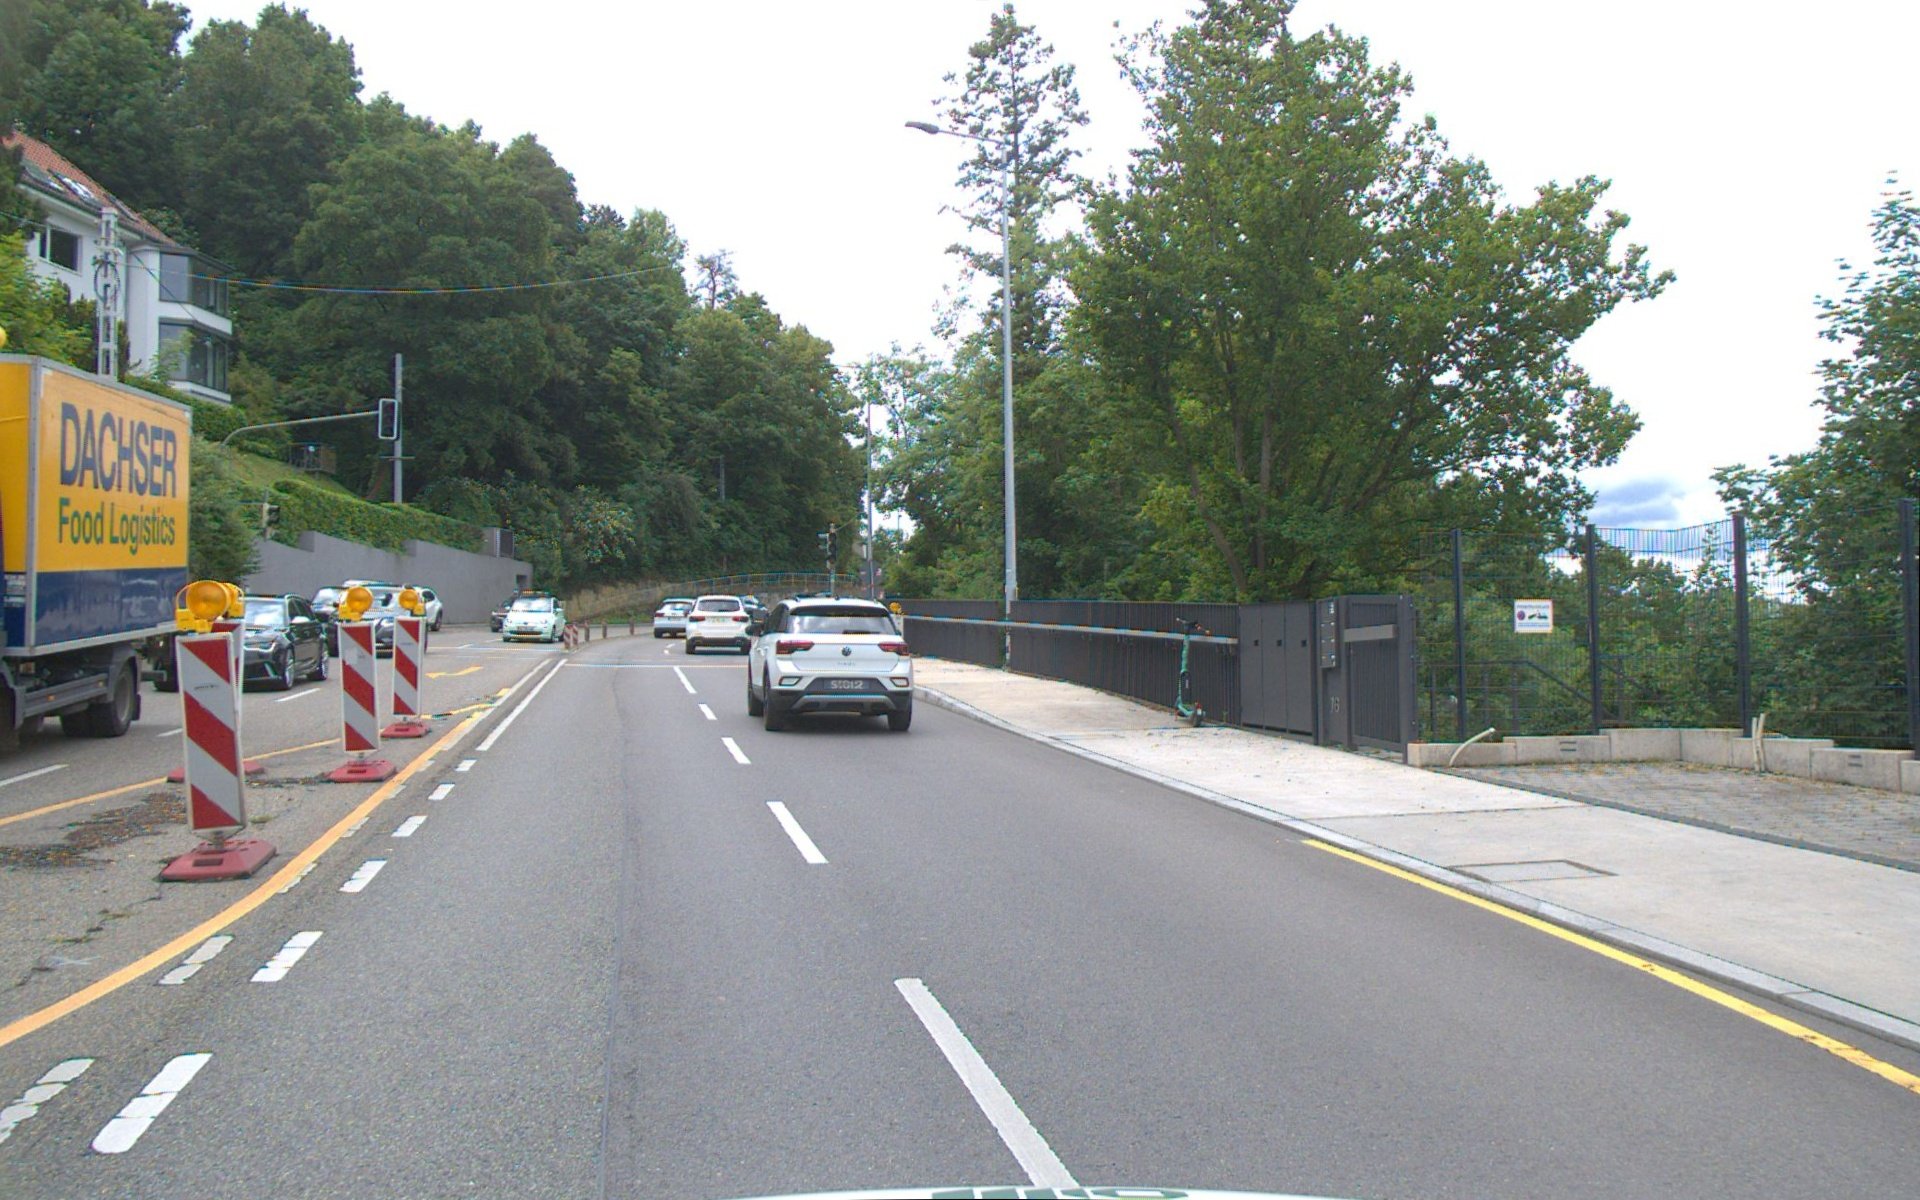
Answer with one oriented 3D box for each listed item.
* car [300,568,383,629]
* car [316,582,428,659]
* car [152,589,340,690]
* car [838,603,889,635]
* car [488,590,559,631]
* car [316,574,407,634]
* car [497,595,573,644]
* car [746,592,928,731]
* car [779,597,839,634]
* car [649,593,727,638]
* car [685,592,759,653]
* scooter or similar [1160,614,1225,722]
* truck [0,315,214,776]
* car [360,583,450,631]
[{"bbox_3d":[-18.027,-0.058,48.319,1.680,1.600,2.950,4,0,-11],"label":"car"},{"bbox_3d":[-14.016,0.457,39.665,1.850,1.726,4.658,1,0,-12],"label":"car"},{"bbox_3d":[-11.402,0.576,26.747,1.778,1.455,4.861,1,0,-12],"label":"car"},{"bbox_3d":[-5.433,1.102,93.888,1.777,1.719,4.003,2,-1,13],"label":"car"},{"bbox_3d":[-16.850,0.380,63.967,1.676,1.492,3.661,2,0,1],"label":"car"},{"bbox_3d":[-19.152,0.120,53.114,1.825,1.761,4.751,3,0,-9],"label":"car"},{"bbox_3d":[-13.911,0.624,54.275,1.677,1.492,3.658,2,0,-3],"label":"car"},{"bbox_3d":[-1.633,0.713,20.680,1.834,1.563,3.793,1,0,-11],"label":"car"},{"bbox_3d":[-7.579,0.794,83.478,1.777,1.719,4.003,2,-1,13],"label":"car"},{"bbox_3d":[-10.414,0.605,63.624,1.866,1.601,4.003,2,-1,7],"label":"car"},{"bbox_3d":[-6.799,0.641,47.508,1.956,1.614,3.993,2,-1,-8],"label":"car"},{"bbox_3d":[2.856,0.819,20.376,0.524,1.248,1.205,-1,1,-5],"label":"scooter or similar"},{"bbox_3d":[-9.275,-0.425,15.266,2.682,3.571,7.330,1,0,-11],"label":"truck"},{"bbox_3d":[-19.691,0.256,58.838,1.796,1.600,4.473,2,-1,-2],"label":"car"}]
